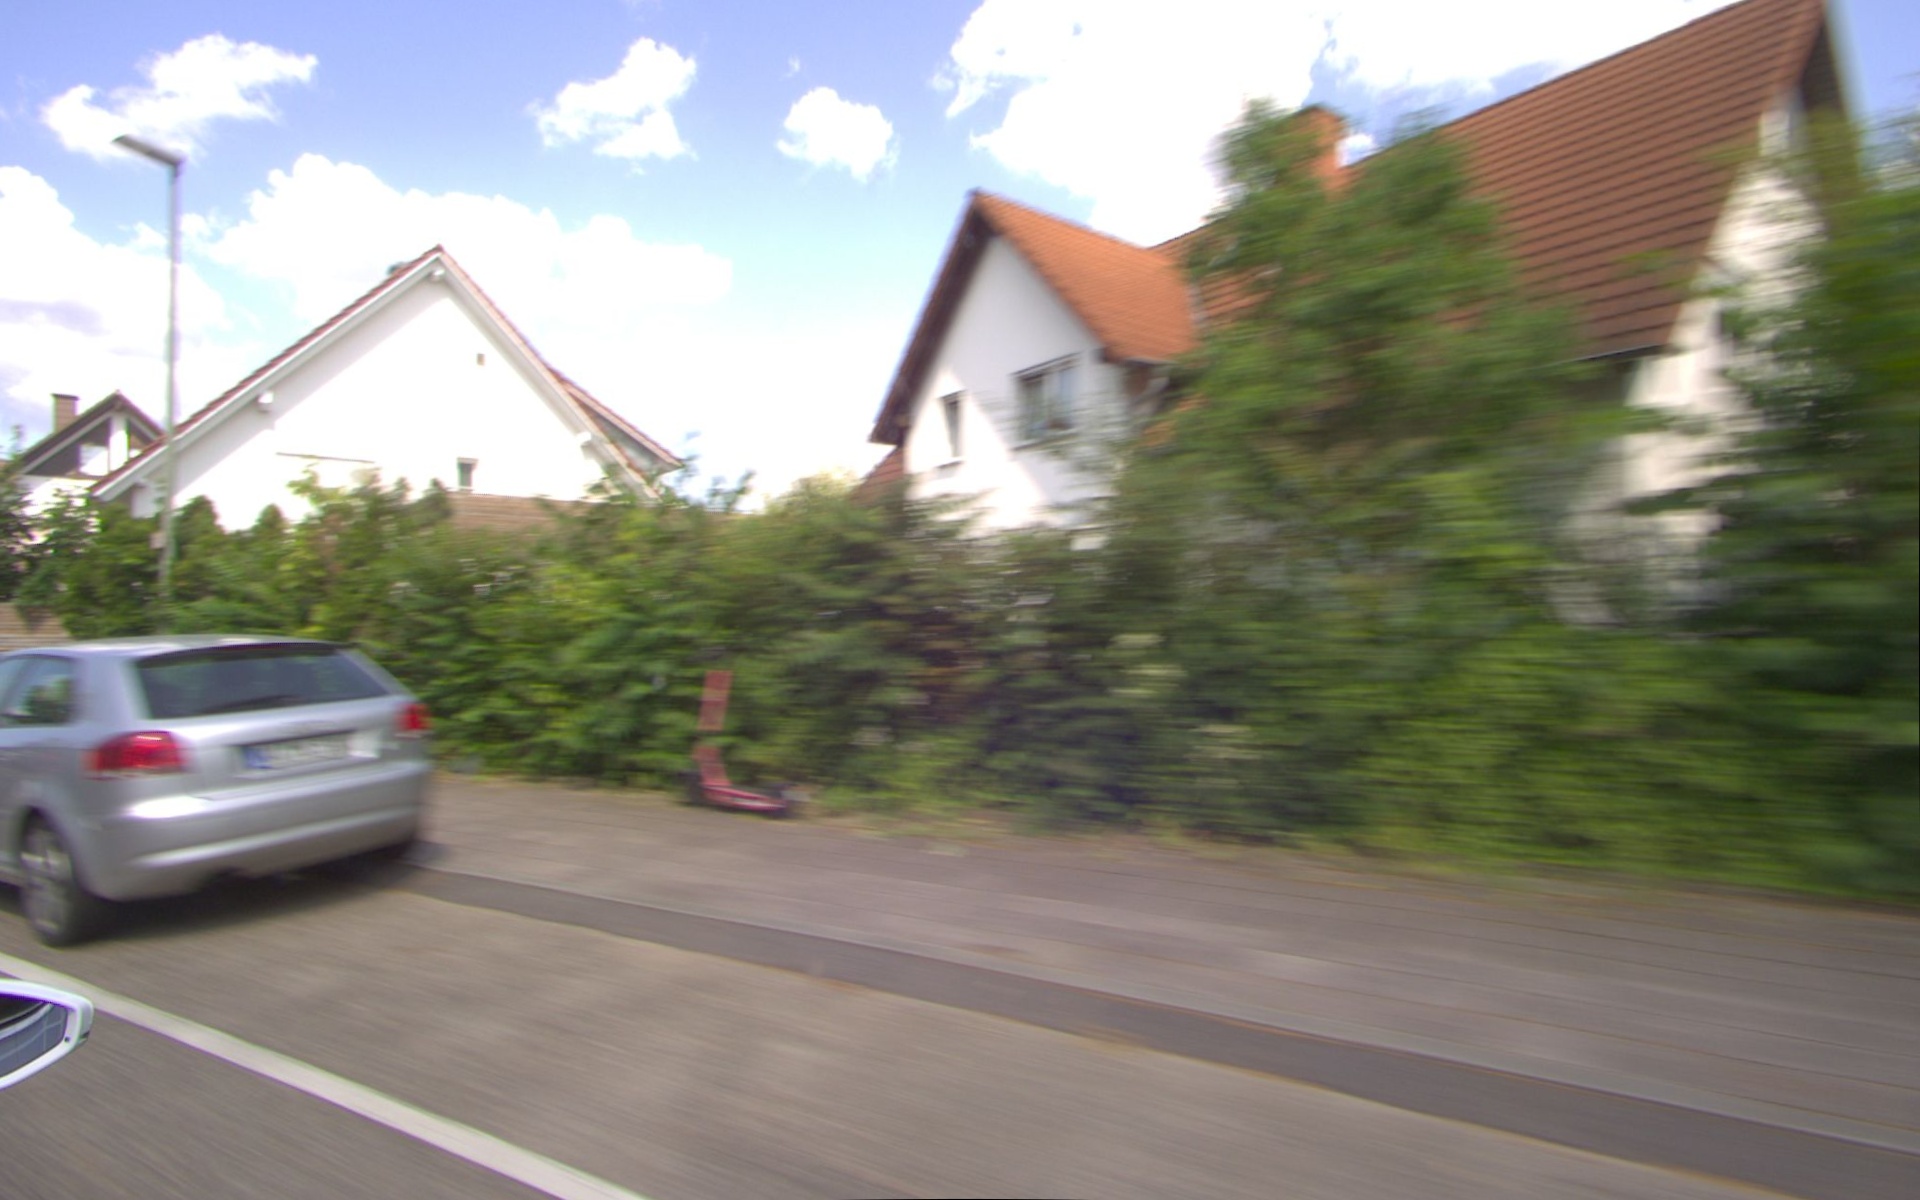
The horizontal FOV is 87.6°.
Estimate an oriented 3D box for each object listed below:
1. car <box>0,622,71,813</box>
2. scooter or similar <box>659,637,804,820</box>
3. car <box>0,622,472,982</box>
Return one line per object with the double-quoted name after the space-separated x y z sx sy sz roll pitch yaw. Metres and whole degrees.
-9.797 0.952 8.660 4.406 1.528 1.736 -1 -2 28 "car"
-1.699 0.908 7.379 1.225 1.268 0.212 -1 -1 30 "scooter or similar"
-5.070 0.901 6.075 4.301 1.477 1.734 -1 0 31 "car"
